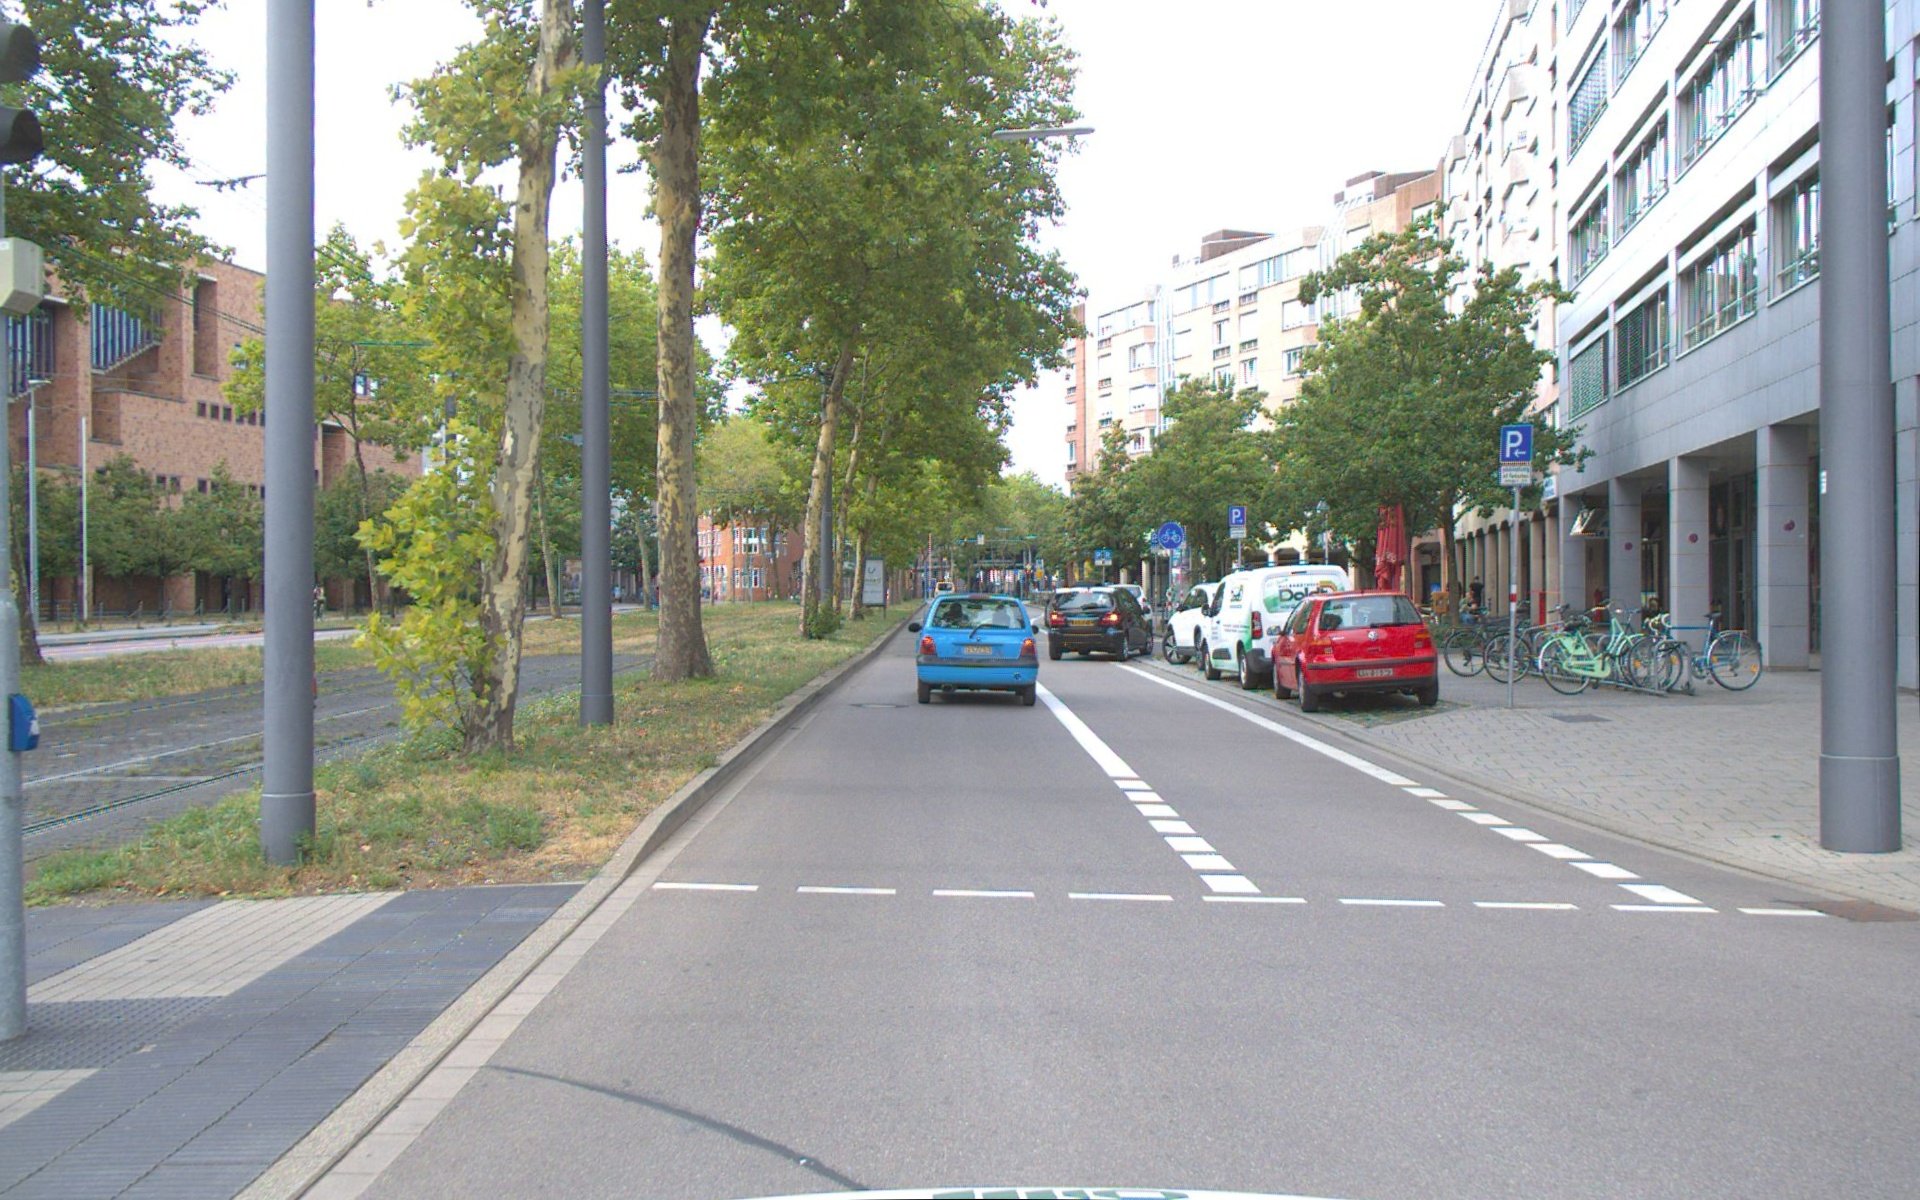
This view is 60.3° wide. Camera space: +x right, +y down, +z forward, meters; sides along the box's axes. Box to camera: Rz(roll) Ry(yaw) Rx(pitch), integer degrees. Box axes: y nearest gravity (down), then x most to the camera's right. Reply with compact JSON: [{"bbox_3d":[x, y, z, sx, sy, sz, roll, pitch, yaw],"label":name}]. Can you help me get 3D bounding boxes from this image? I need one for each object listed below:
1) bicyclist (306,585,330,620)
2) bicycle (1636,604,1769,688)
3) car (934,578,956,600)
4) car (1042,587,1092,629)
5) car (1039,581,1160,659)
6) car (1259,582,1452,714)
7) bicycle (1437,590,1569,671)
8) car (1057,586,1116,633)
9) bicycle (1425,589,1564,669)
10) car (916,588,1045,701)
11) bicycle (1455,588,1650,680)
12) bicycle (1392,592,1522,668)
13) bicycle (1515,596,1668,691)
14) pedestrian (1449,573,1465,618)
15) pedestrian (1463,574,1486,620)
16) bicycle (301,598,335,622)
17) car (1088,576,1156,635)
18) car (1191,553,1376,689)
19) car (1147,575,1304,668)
[{"bbox_3d":[-30.055,0.095,77.437,0.650,1.618,0.984,0,0,2],"label":"bicyclist"},{"bbox_3d":[9.423,0.581,21.002,1.527,1.004,0.422,-2,1,-5],"label":"bicycle"},{"bbox_3d":[-1.344,-1.014,148.966,1.892,1.959,4.955,0,1,0],"label":"car"},{"bbox_3d":[4.182,0.288,65.001,1.704,1.545,4.402,-2,1,1],"label":"car"},{"bbox_3d":[3.279,0.421,38.044,1.738,1.604,4.307,-2,0,19],"label":"car"},{"bbox_3d":[5.061,0.542,21.684,1.686,1.457,4.255,-3,1,4],"label":"car"},{"bbox_3d":[8.390,0.466,25.590,1.868,1.218,0.480,-1,0,7],"label":"bicycle"},{"bbox_3d":[4.525,0.307,59.859,1.680,1.545,4.203,-2,1,-1],"label":"car"},{"bbox_3d":[8.427,0.456,26.124,2.011,1.218,0.480,-1,0,7],"label":"bicycle"},{"bbox_3d":[0.268,0.541,22.552,1.607,1.410,3.843,0,0,0],"label":"car"},{"bbox_3d":[8.516,0.479,23.815,2.578,1.280,0.655,-1,0,0],"label":"bicycle"},{"bbox_3d":[8.258,0.500,27.540,2.011,1.218,0.480,-1,0,7],"label":"bicycle"},{"bbox_3d":[8.143,0.552,21.355,1.814,1.158,0.492,-1,0,-7],"label":"bicycle"},{"bbox_3d":[17.480,-0.169,58.171,0.501,1.582,0.473,-1,0,13],"label":"pedestrian"},{"bbox_3d":[18.067,-0.109,58.071,0.695,1.582,0.799,-1,0,13],"label":"pedestrian"},{"bbox_3d":[-30.055,0.471,77.469,0.654,1.103,2.094,0,1,3],"label":"bicycle"},{"bbox_3d":[4.925,0.133,50.640,1.822,1.682,4.165,-2,1,3],"label":"car"},{"bbox_3d":[5.068,0.281,26.543,1.790,1.897,4.646,-3,1,-3],"label":"car"},{"bbox_3d":[5.225,0.372,33.205,1.956,1.630,4.578,-3,1,-5],"label":"car"}]
